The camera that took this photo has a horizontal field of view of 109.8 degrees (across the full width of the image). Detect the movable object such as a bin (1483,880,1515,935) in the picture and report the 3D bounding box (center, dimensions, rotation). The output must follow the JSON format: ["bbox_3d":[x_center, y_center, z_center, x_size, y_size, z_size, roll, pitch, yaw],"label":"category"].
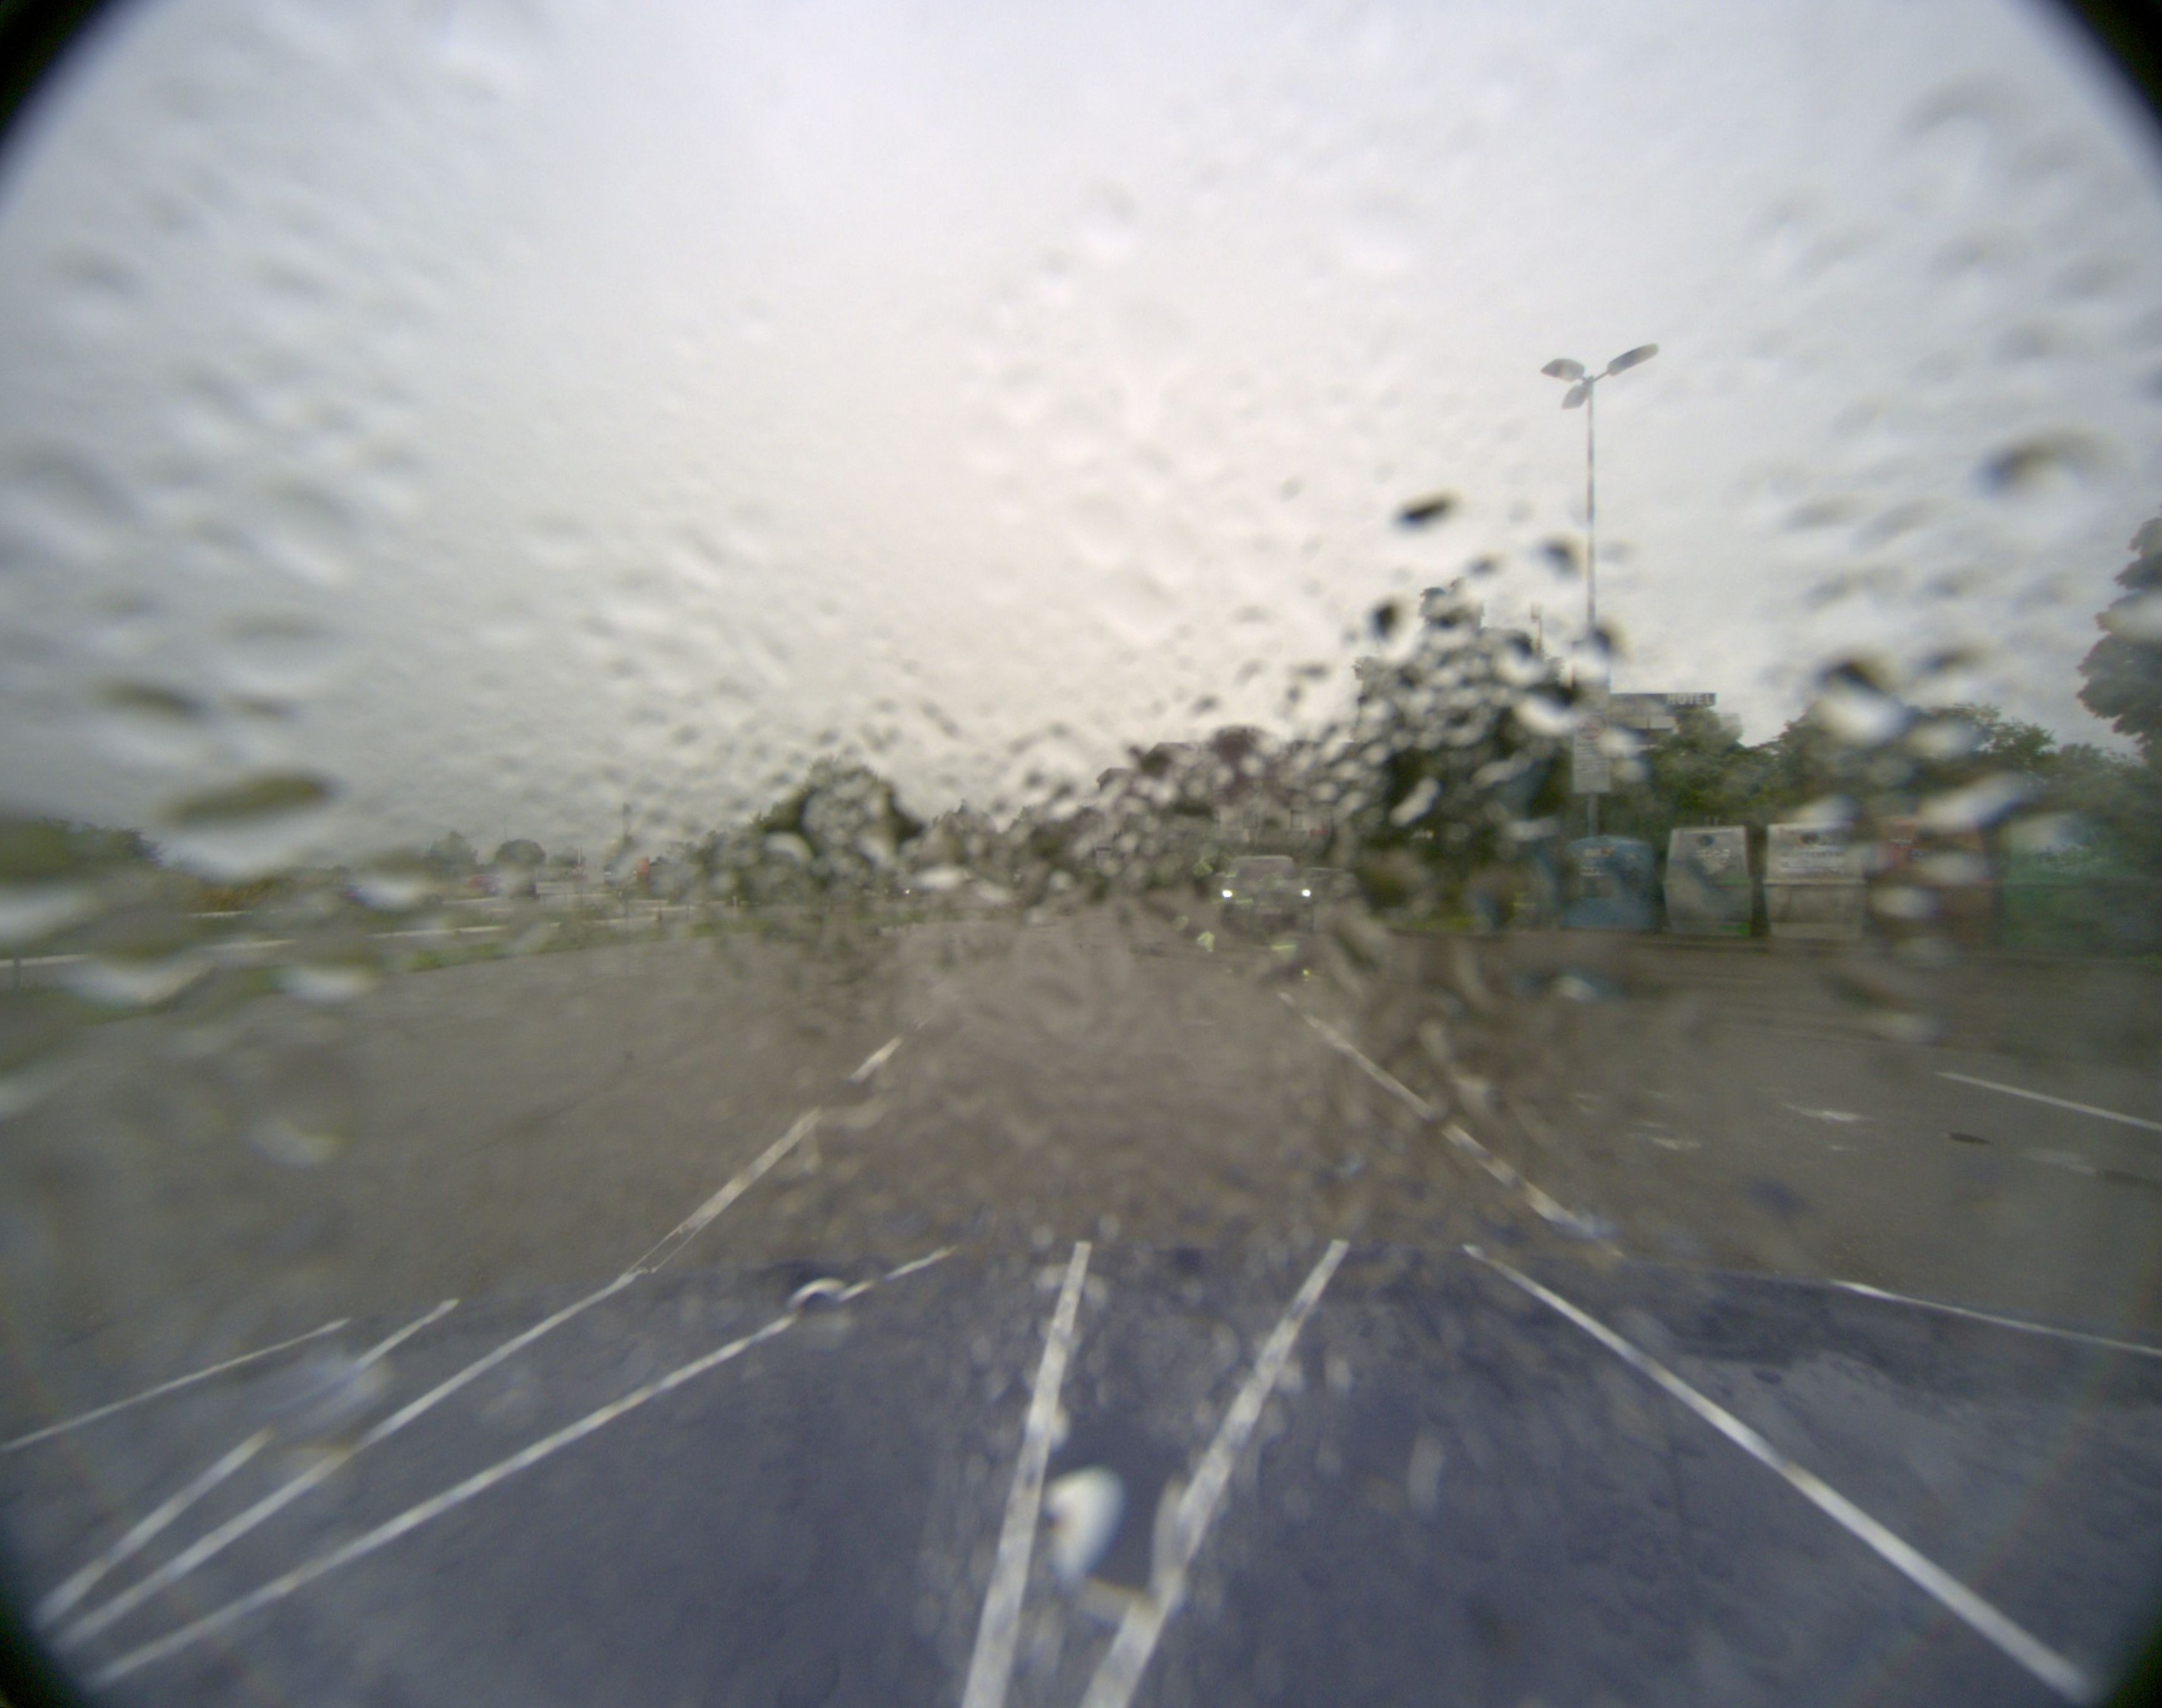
[{"bbox_3d":[7.549,0.964,13.737,0.434,0.943,0.474,-2,0,25],"label":"movable object such as a bin"}]

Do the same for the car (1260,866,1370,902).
[{"bbox_3d":[9.918,1.250,32.574,1.873,1.440,4.319,0,-1,-32],"label":"car"}]

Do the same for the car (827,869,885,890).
[{"bbox_3d":[-20.316,2.285,68.631,4.607,1.711,2.000,-2,-1,-2],"label":"car"}]

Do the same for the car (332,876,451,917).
[{"bbox_3d":[-34.022,2.040,37.690,1.892,1.674,4.667,1,1,-4],"label":"car"}]

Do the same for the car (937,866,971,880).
[{"bbox_3d":[-15.096,2.227,89.947,3.878,1.560,1.753,-3,-1,38],"label":"car"}]

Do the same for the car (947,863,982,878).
[{"bbox_3d":[-14.150,2.042,92.288,3.989,1.717,1.994,-3,-1,37],"label":"car"}]

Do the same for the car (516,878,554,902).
[{"bbox_3d":[-40.948,2.663,56.928,2.004,1.593,4.512,-2,0,-39],"label":"car"}]

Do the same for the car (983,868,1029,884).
[{"bbox_3d":[-7.310,2.103,74.285,4.358,1.416,1.850,-1,-1,-3],"label":"car"}]

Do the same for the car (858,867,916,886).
[{"bbox_3d":[-19.994,2.263,78.435,5.374,1.711,2.000,-2,-1,-2],"label":"car"}]

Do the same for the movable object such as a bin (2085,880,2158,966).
[{"bbox_3d":[11.683,0.760,8.545,0.510,0.917,0.437,0,-2,-39],"label":"movable object such as a bin"}]

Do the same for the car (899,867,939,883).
[{"bbox_3d":[-18.387,2.379,86.135,4.636,1.541,2.004,-3,-1,41],"label":"car"}]

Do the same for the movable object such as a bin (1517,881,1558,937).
[{"bbox_3d":[7.942,0.948,13.228,0.405,0.943,0.450,-2,0,1],"label":"movable object such as a bin"}]

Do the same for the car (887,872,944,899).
[{"bbox_3d":[-9.898,1.878,45.749,1.703,1.416,4.364,-1,0,11],"label":"car"}]

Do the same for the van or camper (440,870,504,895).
[{"bbox_3d":[-51.362,2.373,64.121,4.835,2.001,2.003,1,0,21],"label":"van or camper"}]

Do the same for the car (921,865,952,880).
[{"bbox_3d":[-16.815,2.166,88.290,3.716,1.540,1.670,-3,-1,43],"label":"car"}]

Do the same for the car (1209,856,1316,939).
[{"bbox_3d":[4.063,0.874,17.070,1.996,1.565,4.505,-2,0,14],"label":"car"}]
